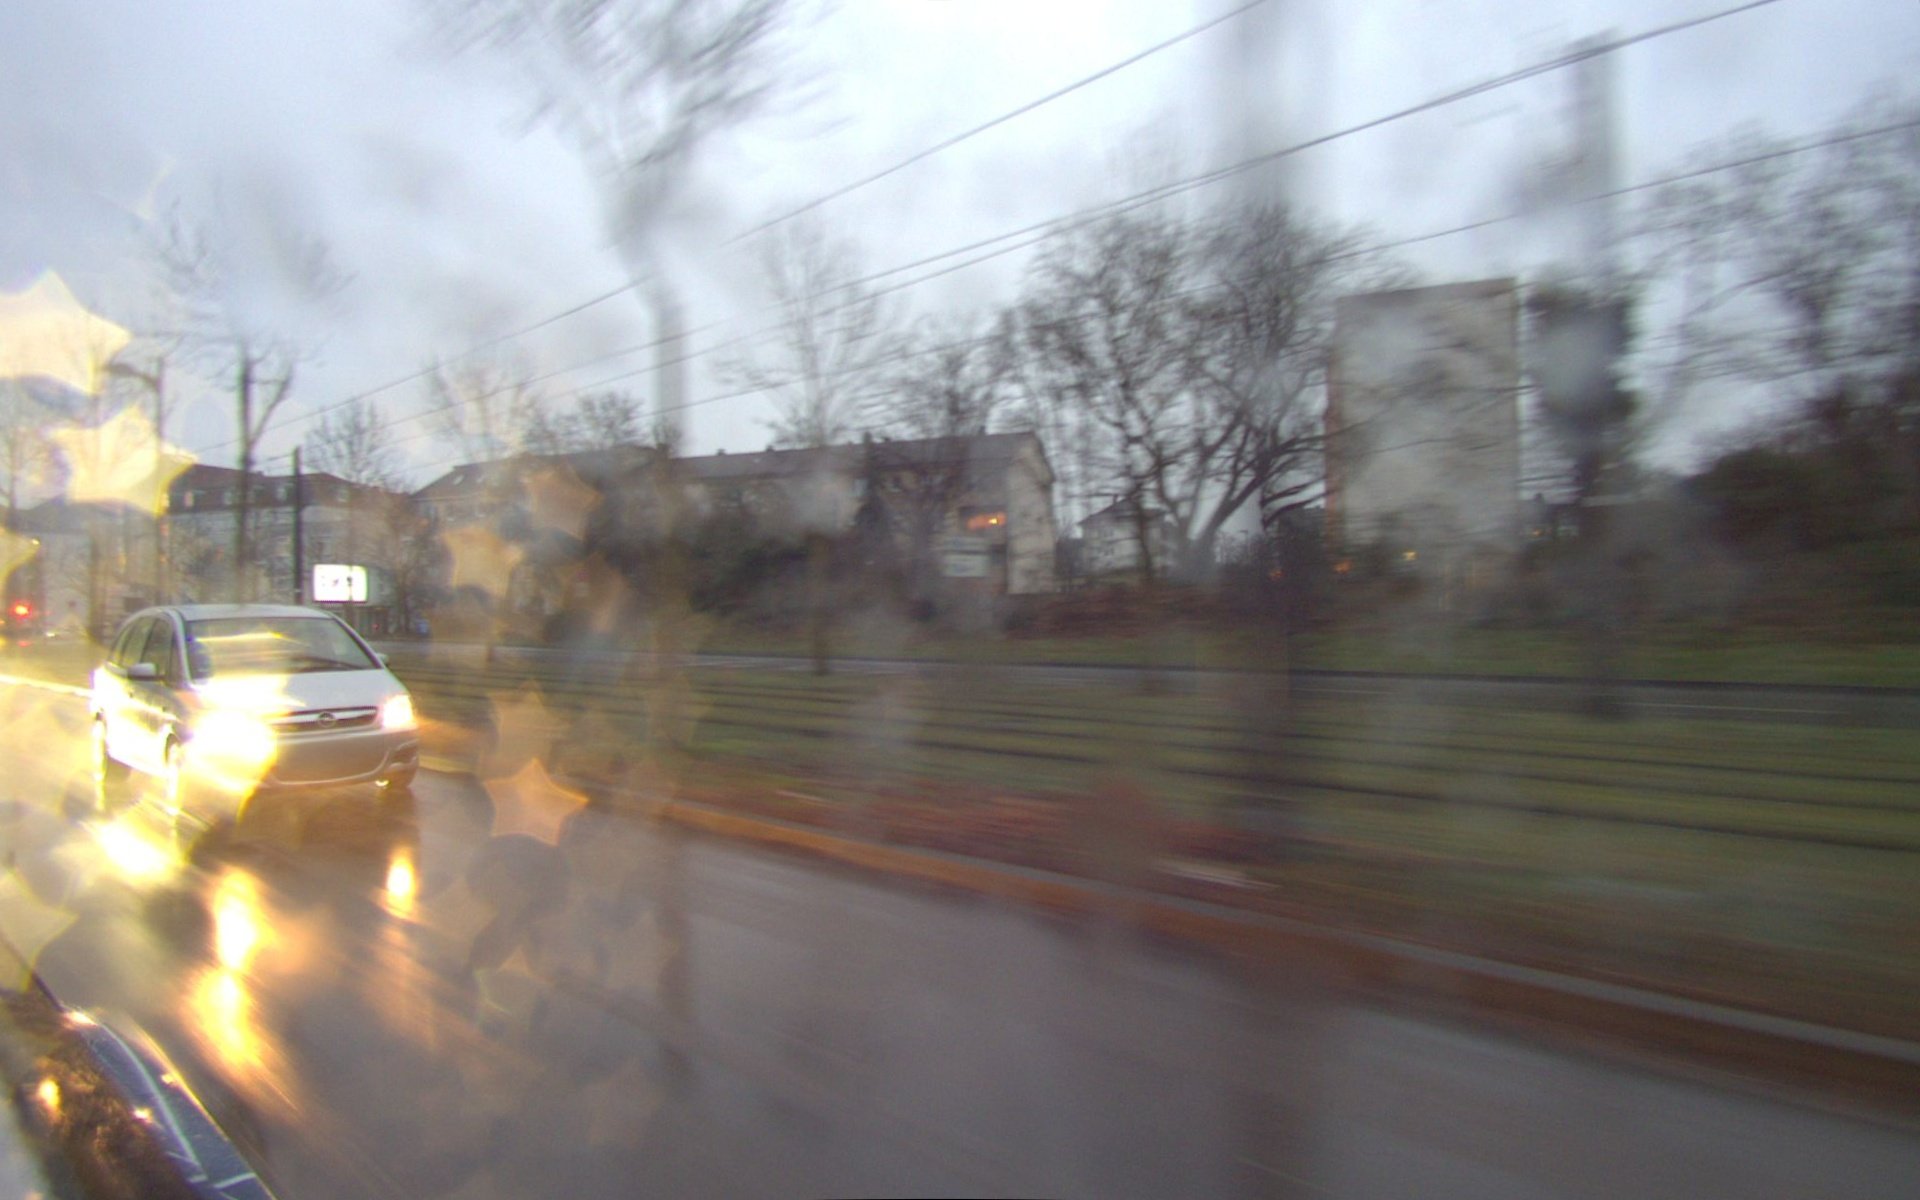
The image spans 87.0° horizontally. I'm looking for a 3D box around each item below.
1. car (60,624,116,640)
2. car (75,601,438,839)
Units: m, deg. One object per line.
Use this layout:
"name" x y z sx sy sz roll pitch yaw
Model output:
"car" -105.263 3.849 122.161 2.306 1.871 4.652 -1 -2 14
"car" -6.161 0.851 8.691 3.920 1.587 1.648 -2 -1 41
